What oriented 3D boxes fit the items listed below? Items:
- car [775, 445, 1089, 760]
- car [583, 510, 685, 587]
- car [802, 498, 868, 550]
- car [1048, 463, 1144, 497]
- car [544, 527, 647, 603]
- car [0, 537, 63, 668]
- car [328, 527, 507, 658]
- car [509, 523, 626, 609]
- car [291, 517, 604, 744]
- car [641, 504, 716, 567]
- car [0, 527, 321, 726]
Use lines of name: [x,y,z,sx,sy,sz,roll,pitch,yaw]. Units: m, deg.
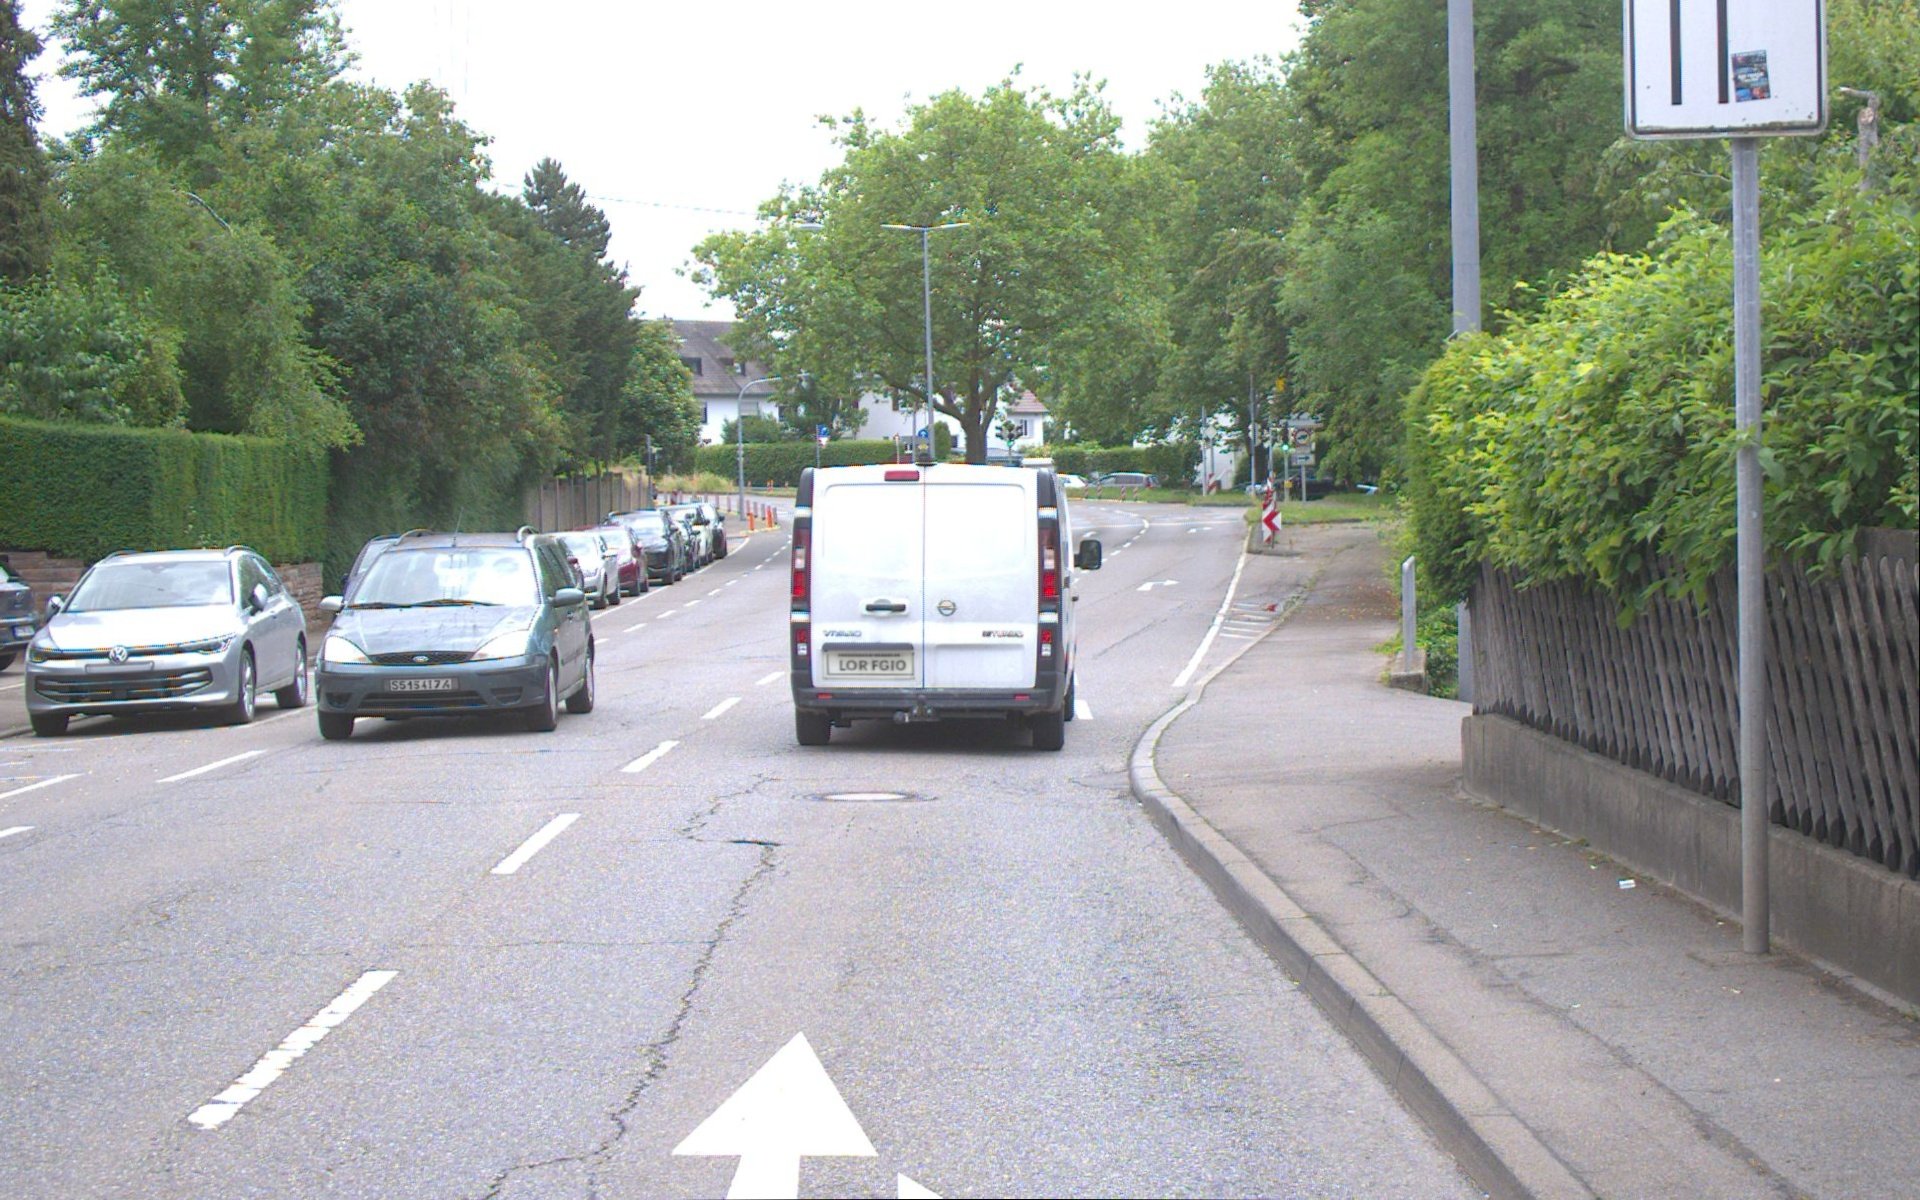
car: [-0.094,-0.054,25.165,2.006,2.031,5.010,1,2,2]
car: [-7.350,-1.186,77.820,1.993,1.637,4.467,-2,2,-2]
car: [-4.101,-2.506,113.093,1.842,1.641,4.213,-1,1,2]
car: [7.061,-6.250,179.119,4.740,1.763,1.996,2,3,39]
car: [-7.484,-0.738,70.844,1.779,1.433,4.001,-2,2,-2]
car: [-12.021,0.032,38.052,3.589,1.386,1.849,-1,2,9]
car: [-6.954,-0.128,44.371,1.678,1.551,3.972,-2,1,-1]
car: [-7.272,-0.659,64.040,1.669,1.483,4.431,-2,2,-1]
car: [-3.829,0.159,26.376,1.734,1.548,4.448,-1,2,0]
car: [-7.702,-1.792,94.236,1.672,1.586,4.097,-2,2,0]
car: [-6.777,0.162,29.527,1.809,1.450,4.414,-3,2,-2]
